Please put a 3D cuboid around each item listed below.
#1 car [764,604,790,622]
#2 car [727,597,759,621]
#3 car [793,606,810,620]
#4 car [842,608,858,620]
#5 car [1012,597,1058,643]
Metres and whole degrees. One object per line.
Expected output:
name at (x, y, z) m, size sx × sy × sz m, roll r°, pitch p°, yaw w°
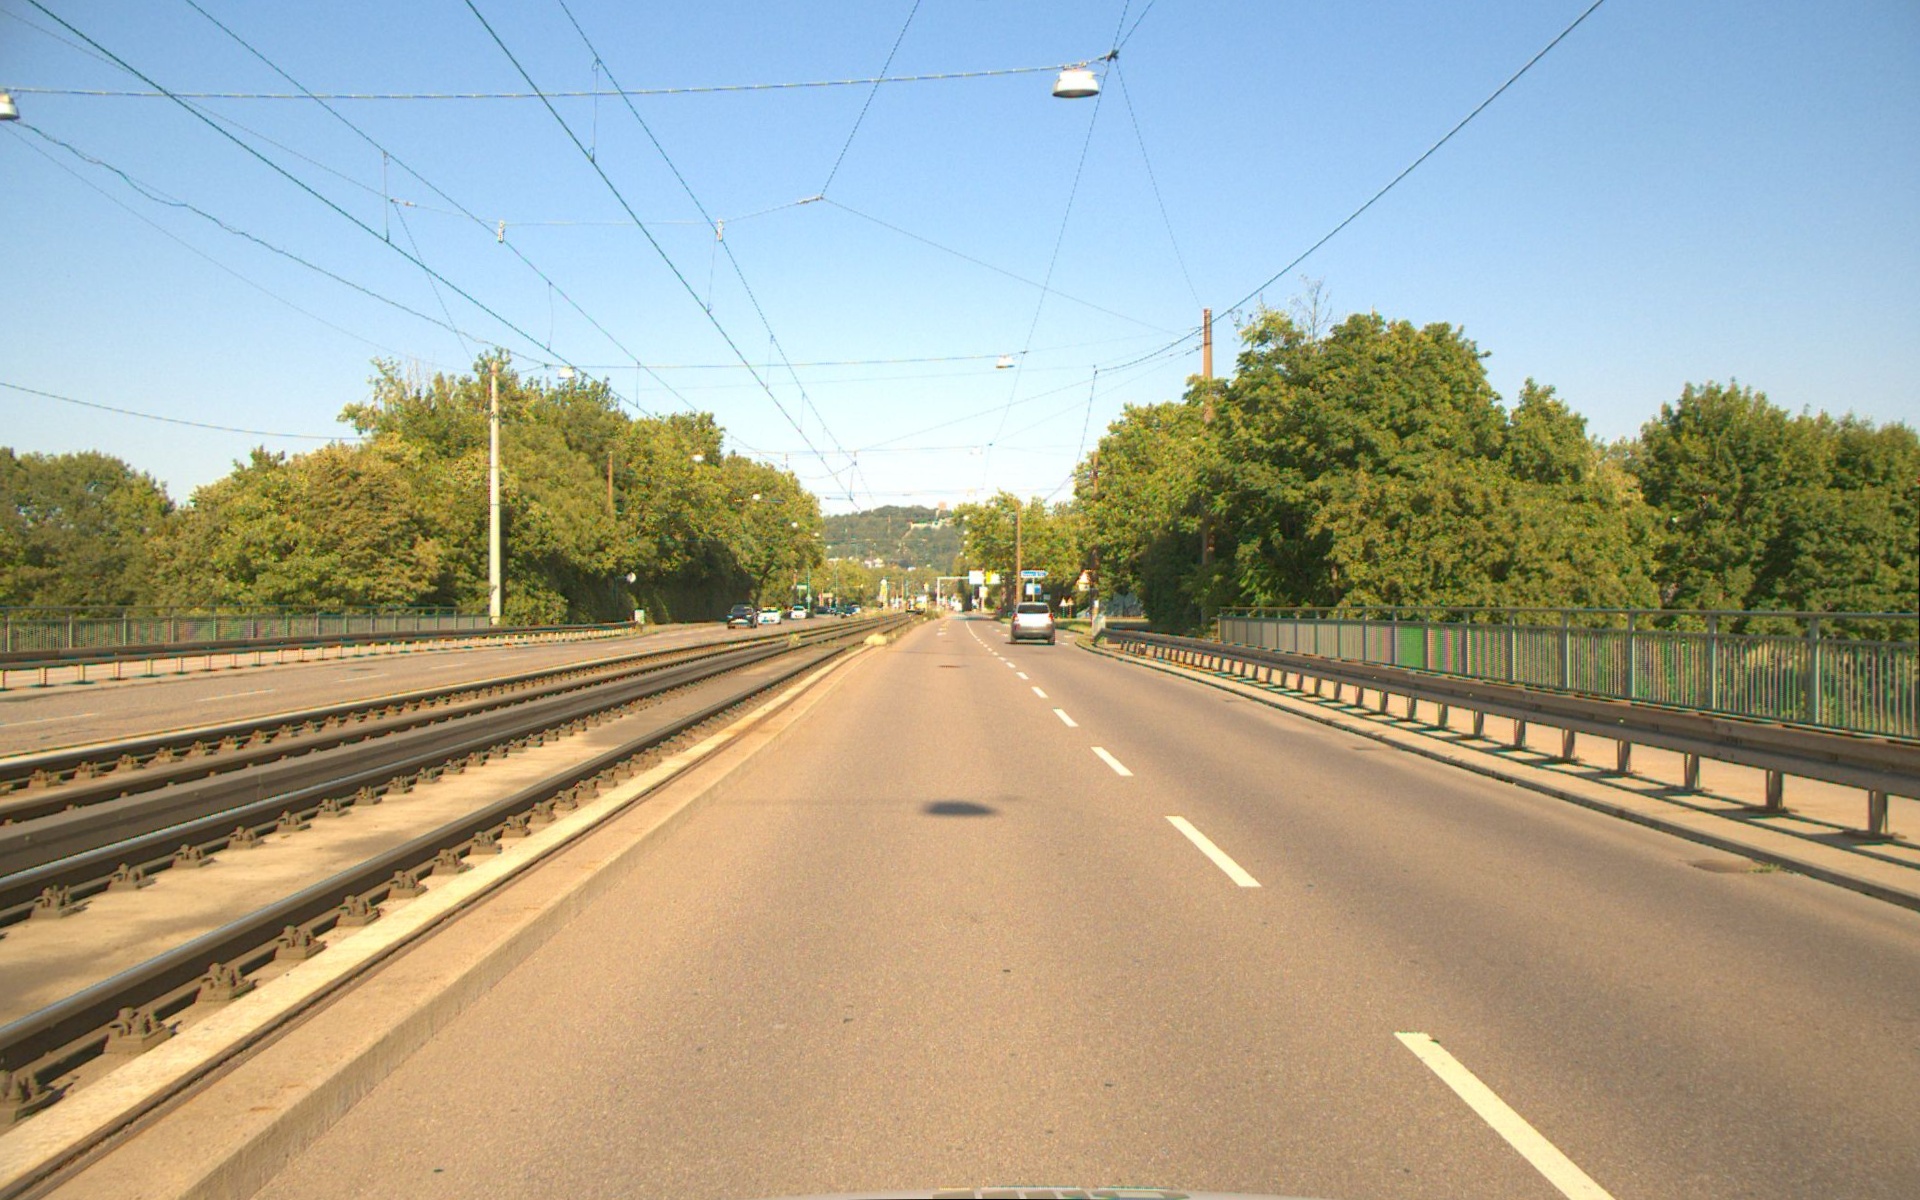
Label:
car at (-15.448, 1.115, 139.804) m, size 1.719 × 1.439 × 4.876 m, roll -2°, pitch 0°, yaw -2°
car at (-15.163, 0.623, 115.851) m, size 1.674 × 1.608 × 4.800 m, roll -1°, pitch 0°, yaw -1°
car at (-19.411, 1.567, 202.690) m, size 1.657 × 1.583 × 4.191 m, roll -2°, pitch 0°, yaw 0°
car at (-13.395, 1.676, 201.750) m, size 1.623 × 1.458 × 4.501 m, roll -2°, pitch 0°, yaw 0°
car at (3.096, 0.811, 67.780) m, size 1.771 × 1.804 × 3.864 m, roll 1°, pitch 0°, yaw 4°
